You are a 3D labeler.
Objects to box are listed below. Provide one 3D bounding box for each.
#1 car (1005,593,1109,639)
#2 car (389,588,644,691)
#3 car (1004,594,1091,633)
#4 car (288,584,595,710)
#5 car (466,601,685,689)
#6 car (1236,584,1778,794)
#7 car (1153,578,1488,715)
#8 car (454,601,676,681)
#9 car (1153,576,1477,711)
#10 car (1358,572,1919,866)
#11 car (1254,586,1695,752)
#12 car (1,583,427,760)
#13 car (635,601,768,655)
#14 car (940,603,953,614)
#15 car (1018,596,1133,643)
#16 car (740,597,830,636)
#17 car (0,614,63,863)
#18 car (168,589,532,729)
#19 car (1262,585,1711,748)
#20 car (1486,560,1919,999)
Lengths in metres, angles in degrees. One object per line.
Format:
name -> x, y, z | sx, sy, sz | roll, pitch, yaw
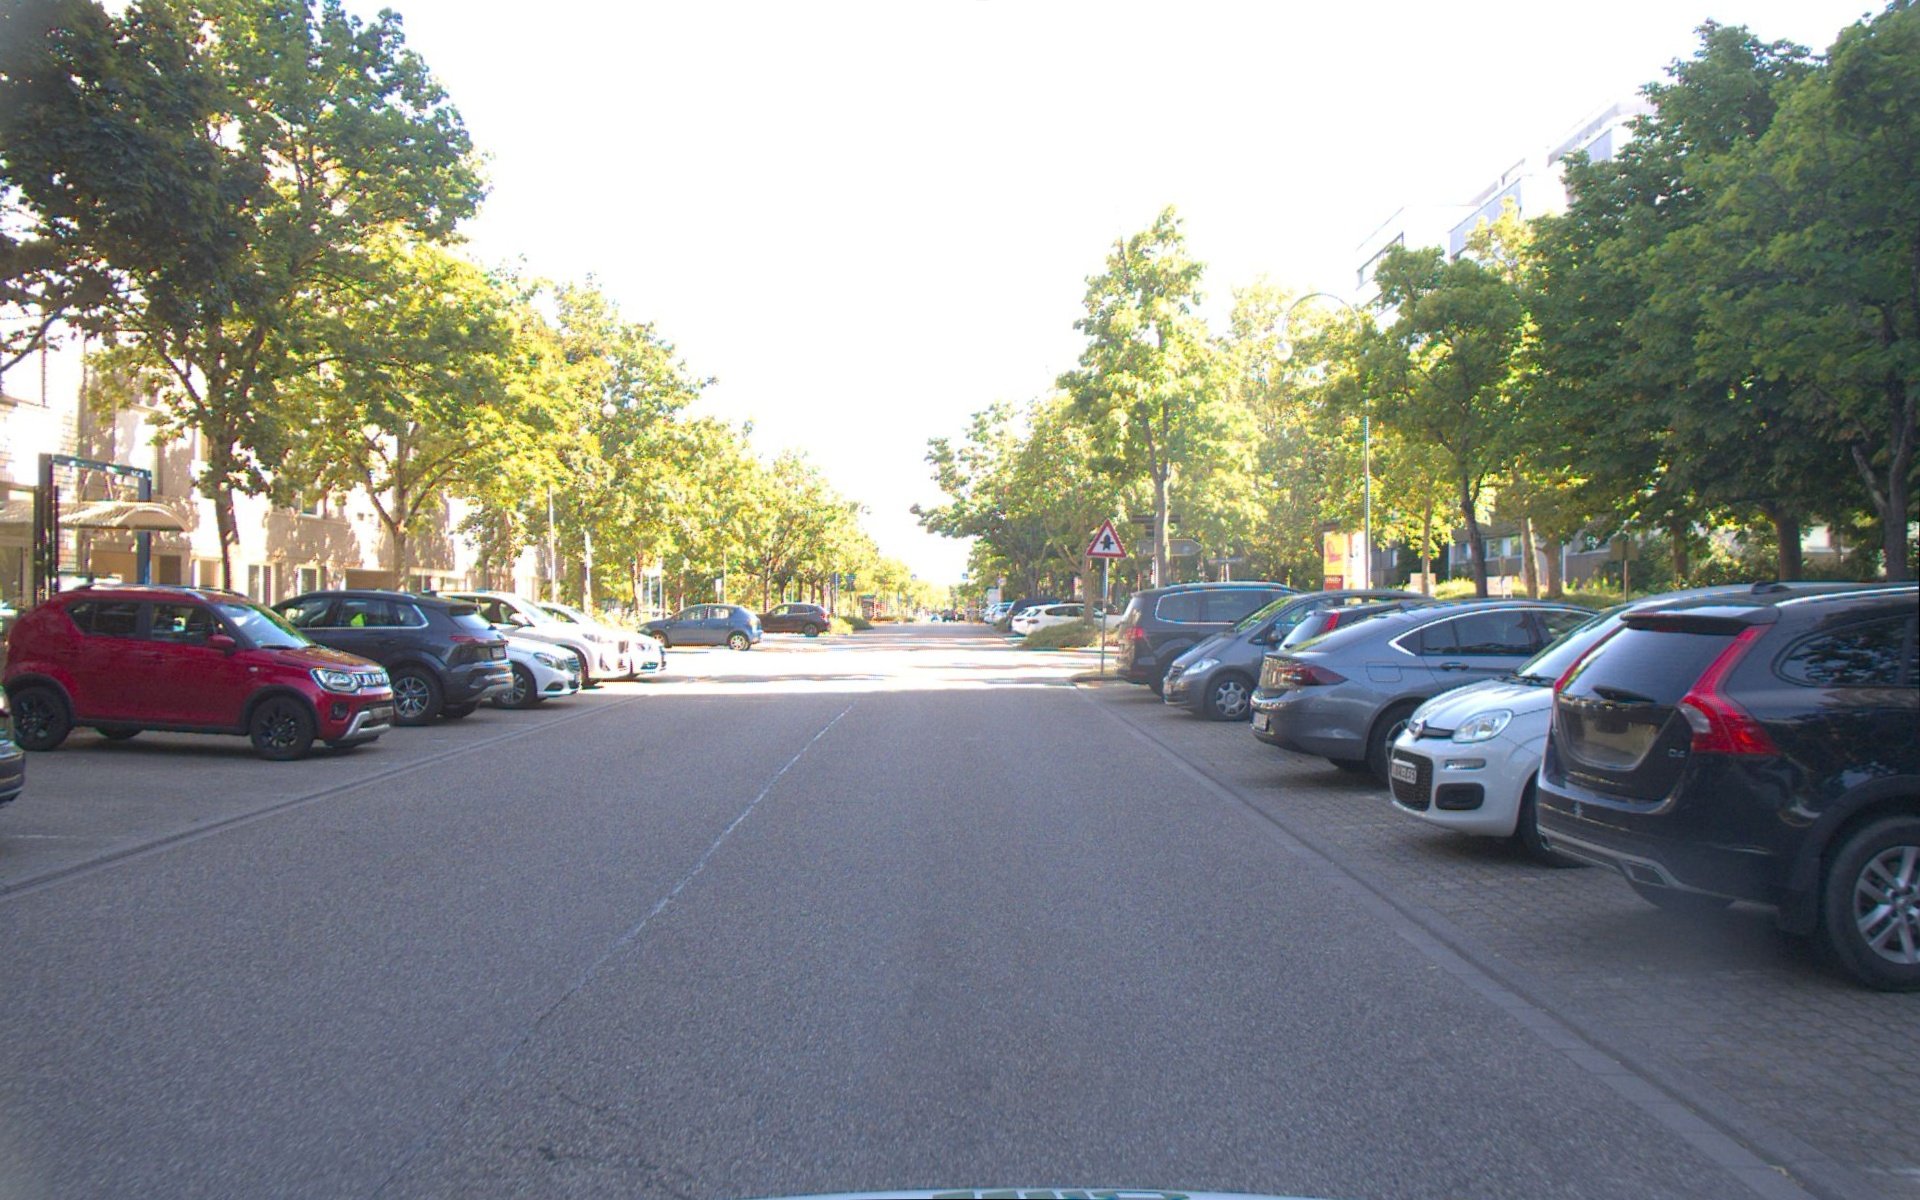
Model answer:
car -> 3.860, 0.627, 66.128 | 3.909, 1.824, 1.998 | 0, 0, -6
car -> -7.688, 0.663, 28.941 | 3.904, 1.683, 1.861 | -1, 0, 2
car -> 4.113, 0.640, 78.201 | 3.909, 1.824, 1.998 | 0, 0, -6
car -> -7.433, 0.658, 23.986 | 3.906, 1.750, 1.708 | 0, 0, -2
car -> -7.348, 0.838, 31.897 | 3.814, 1.640, 1.857 | 0, 0, -2
car -> 4.446, 0.696, 13.766 | 3.964, 1.517, 1.549 | -2, 0, -4
car -> 4.641, 0.586, 21.632 | 3.964, 1.609, 1.640 | -2, 0, -4
car -> -7.573, 0.772, 31.958 | 3.907, 1.507, 1.679 | 0, 0, -2
car -> 4.592, 0.548, 21.762 | 3.816, 1.685, 1.856 | 0, 0, -4
car -> 4.635, 0.651, 10.200 | 3.968, 1.619, 1.547 | 0, 0, -8
car -> 5.124, 0.667, 16.750 | 3.964, 1.479, 1.518 | -2, 0, -4
car -> -7.396, 0.698, 16.650 | 3.467, 1.686, 1.761 | 0, -1, 1
car -> -7.936, 0.853, 50.981 | 3.909, 1.559, 1.616 | -1, 1, -5
car -> -1.989, 1.241, 245.524 | 1.894, 1.625, 4.365 | -1, 0, -1
car -> 4.150, 0.686, 60.013 | 3.909, 1.653, 1.998 | 0, 0, -6
car -> -8.008, 0.724, 75.899 | 3.905, 1.713, 2.000 | -1, 0, 0
car -> -7.489, 0.760, 9.336 | 3.907, 1.431, 1.604 | 1, -1, -3
car -> -7.590, 0.732, 20.816 | 3.904, 1.614, 1.765 | -1, -1, 2
car -> 5.258, 0.638, 16.817 | 3.965, 1.446, 1.735 | -2, 0, -5
car -> 4.734, 0.596, 7.262 | 4.165, 1.581, 1.918 | -3, 0, -4
